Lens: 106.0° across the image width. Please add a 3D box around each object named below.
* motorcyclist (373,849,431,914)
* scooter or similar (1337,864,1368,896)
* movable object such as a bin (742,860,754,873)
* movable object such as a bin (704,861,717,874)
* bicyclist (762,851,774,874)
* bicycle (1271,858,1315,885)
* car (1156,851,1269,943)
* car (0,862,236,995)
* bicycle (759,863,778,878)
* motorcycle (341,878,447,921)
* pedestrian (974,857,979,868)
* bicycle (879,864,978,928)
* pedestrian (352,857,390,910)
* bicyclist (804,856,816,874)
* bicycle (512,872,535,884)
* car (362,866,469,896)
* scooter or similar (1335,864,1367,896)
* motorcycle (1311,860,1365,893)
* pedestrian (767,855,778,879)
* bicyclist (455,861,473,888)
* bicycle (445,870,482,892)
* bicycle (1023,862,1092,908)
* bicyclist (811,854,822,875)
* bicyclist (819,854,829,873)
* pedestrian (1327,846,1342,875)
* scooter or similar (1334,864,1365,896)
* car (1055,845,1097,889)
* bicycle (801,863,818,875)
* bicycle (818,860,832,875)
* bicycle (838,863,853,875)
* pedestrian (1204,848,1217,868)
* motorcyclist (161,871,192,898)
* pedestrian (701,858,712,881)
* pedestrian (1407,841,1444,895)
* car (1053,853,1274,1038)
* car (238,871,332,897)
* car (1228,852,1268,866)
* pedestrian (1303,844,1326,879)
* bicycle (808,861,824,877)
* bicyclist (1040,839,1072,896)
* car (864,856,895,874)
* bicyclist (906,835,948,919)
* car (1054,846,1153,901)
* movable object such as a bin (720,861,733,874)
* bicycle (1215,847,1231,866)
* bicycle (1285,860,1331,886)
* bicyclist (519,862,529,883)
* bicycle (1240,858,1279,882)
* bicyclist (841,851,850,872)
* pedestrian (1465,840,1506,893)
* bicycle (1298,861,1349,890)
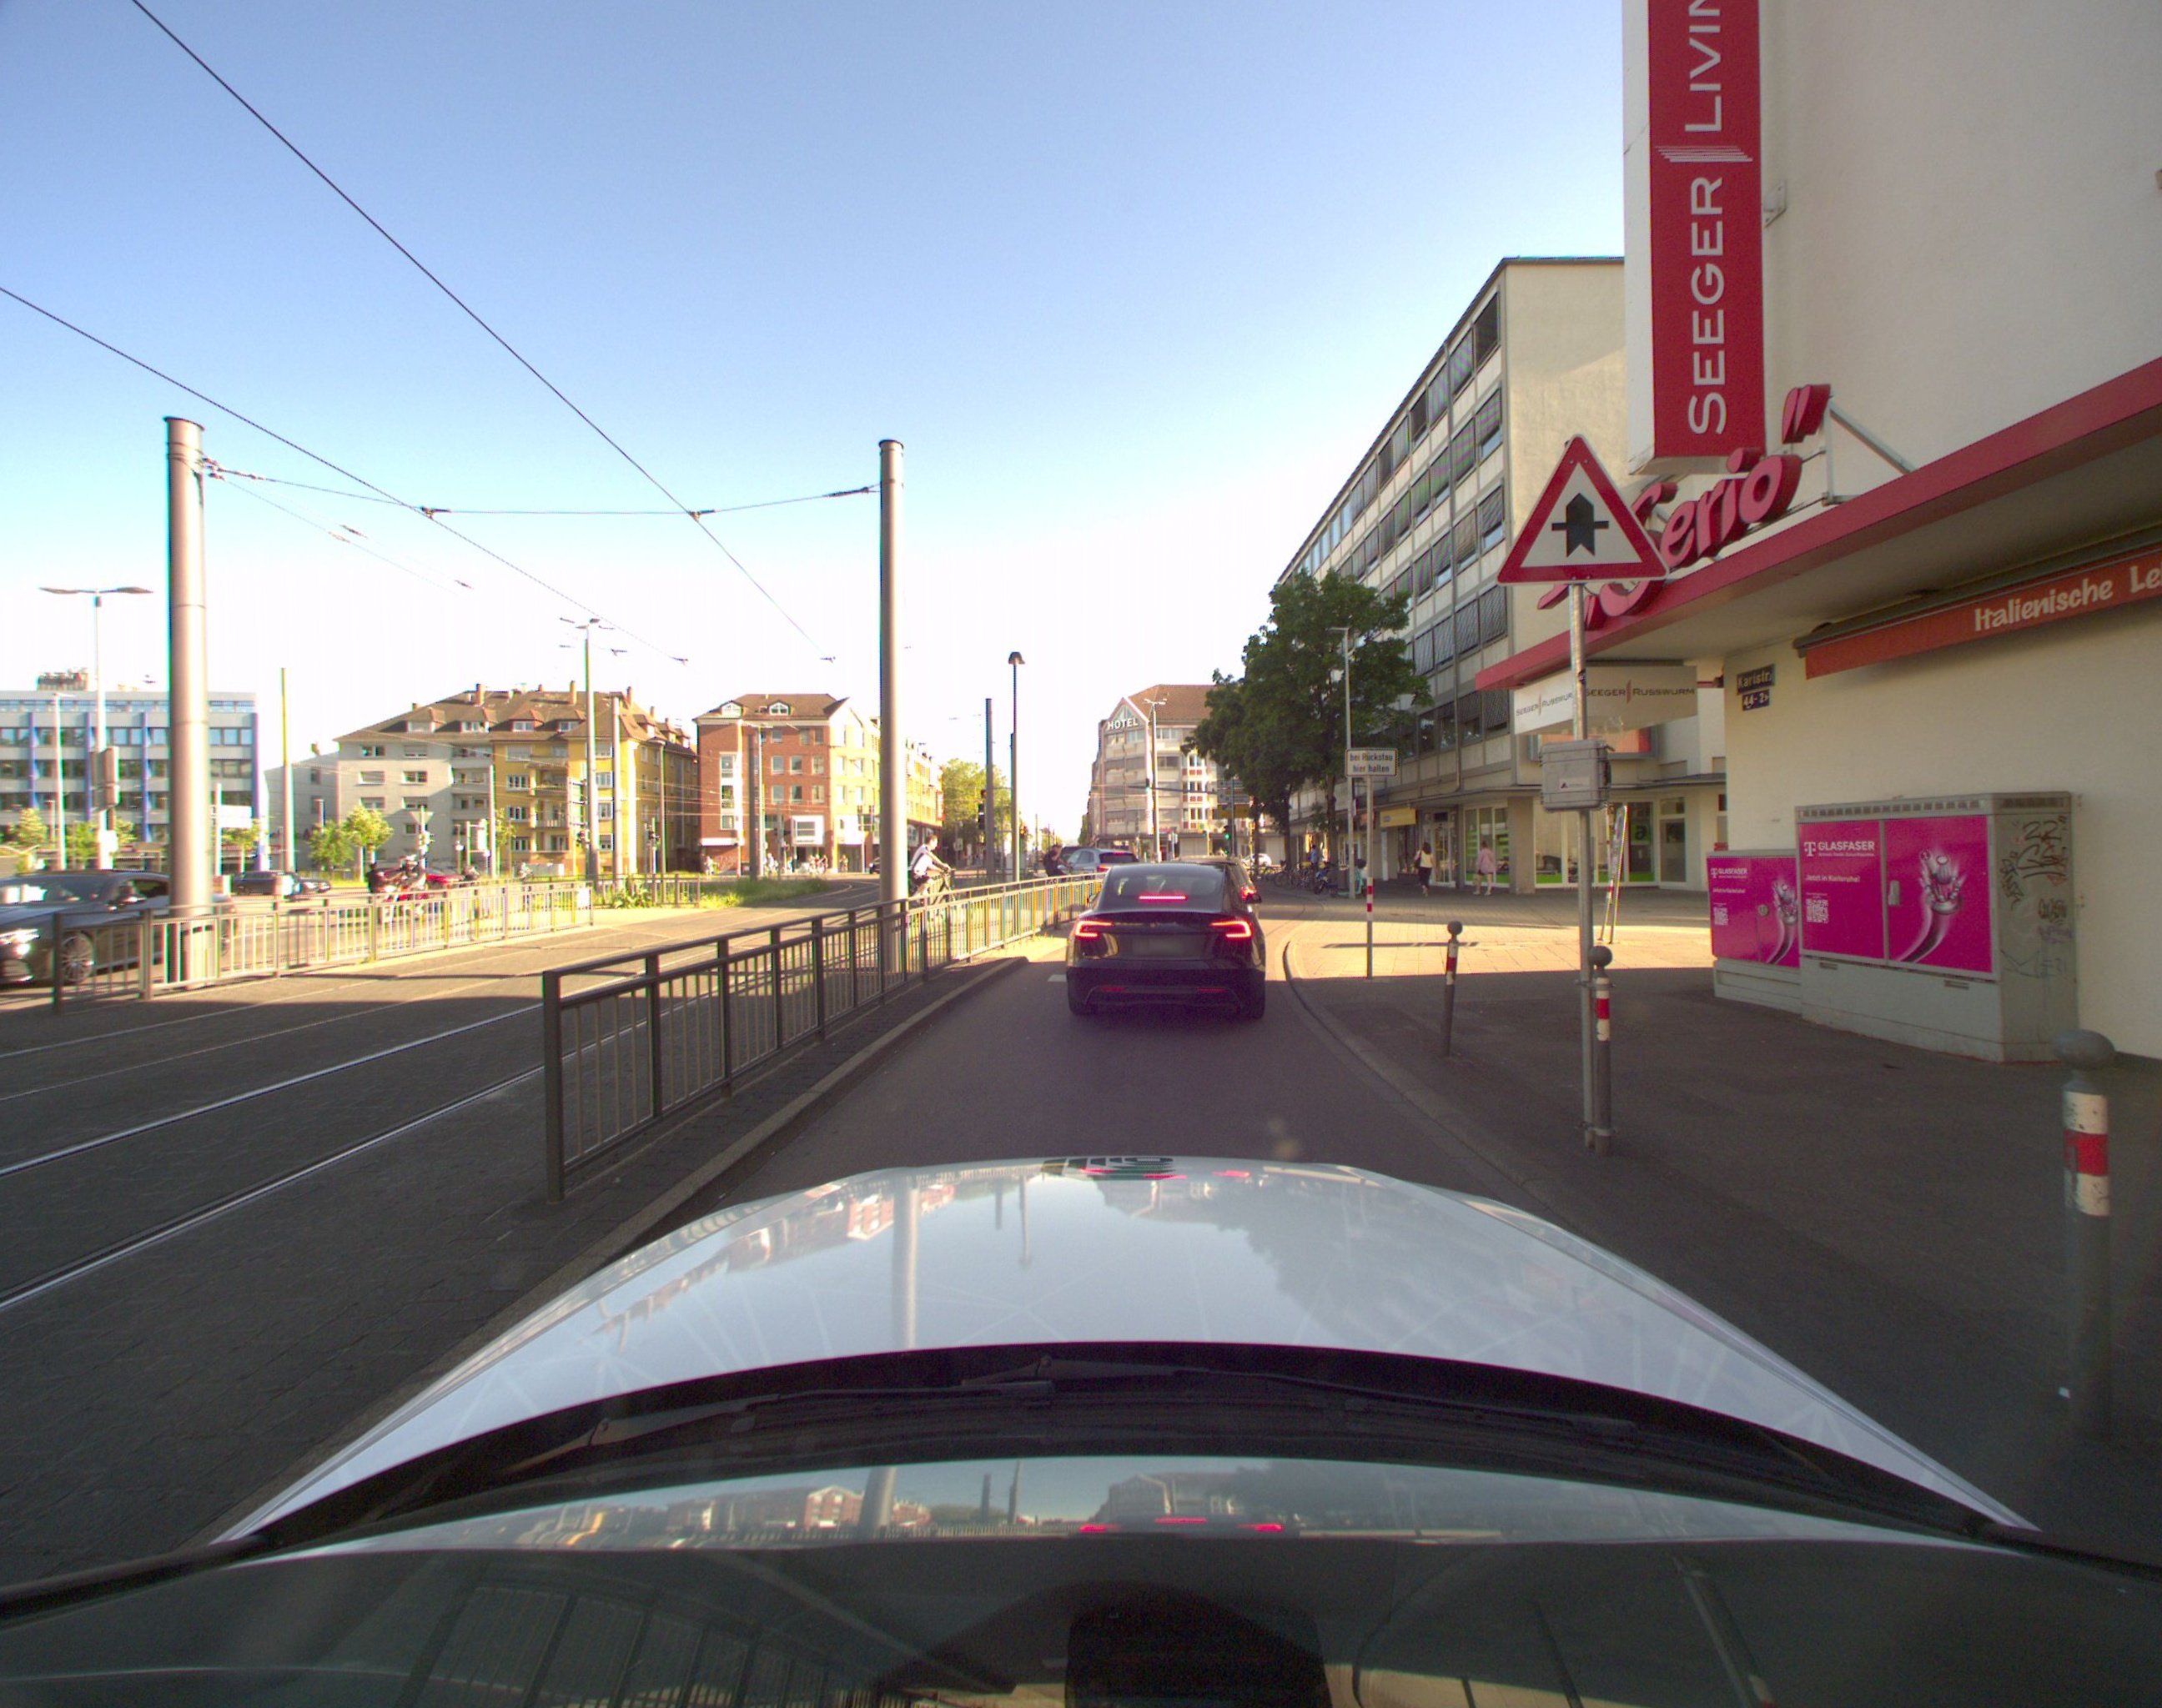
[{"bbox_3d":[-16.718,0.673,20.074,0.648,1.558,0.886,0,-1,7],"label":"motorcyclist"},{"bbox_3d":[8.937,0.848,26.815,0.959,1.043,0.160,-1,0,4],"label":"scooter or similar"},{"bbox_3d":[-35.996,1.361,88.035,0.995,1.437,1.093,0,-1,-8],"label":"movable object such as a bin"},{"bbox_3d":[-39.850,1.446,87.669,0.995,1.437,1.093,0,-1,-8],"label":"movable object such as a bin"},{"bbox_3d":[-22.450,0.600,58.426,0.518,1.673,0.771,0,-1,3],"label":"bicyclist"},{"bbox_3d":[9.177,0.751,35.286,1.805,1.151,0.435,-1,-1,-3],"label":"bicycle"},{"bbox_3d":[2.347,0.682,15.154,1.755,1.444,4.537,0,0,7],"label":"car"},{"bbox_3d":[-13.939,0.908,11.132,1.786,1.509,4.629,-2,0,-26],"label":"car"},{"bbox_3d":[-22.447,1.183,58.438,0.527,1.013,1.887,0,-1,4],"label":"bicycle"},{"bbox_3d":[-16.757,1.088,19.942,0.596,0.926,2.160,0,-1,7],"label":"motorcycle"},{"bbox_3d":[-14.046,1.124,109.627,0.584,1.531,0.634,0,-1,-15],"label":"pedestrian"},{"bbox_3d":[-2.996,0.819,16.051,1.811,1.212,0.583,0,-1,5],"label":"bicycle"},{"bbox_3d":[-26.181,1.067,30.030,0.716,1.934,0.802,-1,-1,22],"label":"pedestrian"},{"bbox_3d":[-22.200,0.866,66.716,0.661,1.454,0.731,0,-1,3],"label":"bicyclist"},{"bbox_3d":[-35.559,1.542,51.965,1.174,0.764,0.318,0,-1,-15],"label":"bicycle"},{"bbox_3d":[-39.258,1.577,48.117,4.548,1.509,1.777,-2,0,-9],"label":"car"},{"bbox_3d":[8.952,0.861,27.013,0.952,1.039,0.160,-1,0,4],"label":"scooter or similar"},{"bbox_3d":[9.188,0.802,29.137,1.781,1.130,0.504,0,-1,-1],"label":"motorcycle"},{"bbox_3d":[-25.908,1.056,68.398,0.592,2.014,0.831,0,-1,4],"label":"pedestrian"},{"bbox_3d":[-34.735,1.160,45.873,0.615,1.493,0.607,0,-1,-12],"label":"bicyclist"},{"bbox_3d":[-34.787,1.542,45.868,1.497,1.133,0.609,-3,0,-13],"label":"bicycle"},{"bbox_3d":[-0.645,0.837,22.411,1.831,1.212,0.635,0,-1,-29],"label":"bicycle"},{"bbox_3d":[-20.851,0.825,64.192,0.518,1.673,0.771,0,-1,3],"label":"bicyclist"},{"bbox_3d":[-21.786,0.818,69.132,0.586,1.649,0.806,0,-1,-1],"label":"bicyclist"},{"bbox_3d":[12.768,0.317,41.041,0.640,1.422,0.623,-1,-1,12],"label":"pedestrian"},{"bbox_3d":[8.966,0.872,27.213,0.959,1.027,0.160,-1,0,4],"label":"scooter or similar"},{"bbox_3d":[-0.179,0.510,32.464,1.568,1.618,3.782,0,-1,0],"label":"car"},{"bbox_3d":[-22.196,1.211,66.720,0.647,1.013,1.887,0,-1,4],"label":"bicycle"},{"bbox_3d":[-21.762,1.160,69.338,0.571,1.291,2.026,0,-1,0],"label":"bicycle"},{"bbox_3d":[-19.562,1.245,67.675,0.527,1.013,1.899,0,-1,4],"label":"bicycle"},{"bbox_3d":[10.503,0.320,65.989,0.780,1.576,0.864,0,1,-13],"label":"pedestrian"},{"bbox_3d":[-52.035,1.750,46.859,0.919,1.524,0.781,0,-1,-5],"label":"motorcyclist"},{"bbox_3d":[-28.552,1.170,62.125,0.624,1.688,0.703,0,1,-11],"label":"pedestrian"},{"bbox_3d":[11.033,0.454,26.099,0.840,1.707,0.880,0,-1,1],"label":"pedestrian"},{"bbox_3d":[0.898,0.745,8.615,1.781,1.450,3.947,0,1,7],"label":"car"},{"bbox_3d":[-46.313,1.732,47.431,3.695,1.472,1.572,0,-1,-6],"label":"car"},{"bbox_3d":[17.616,0.551,86.168,3.832,1.432,1.801,-1,-2,-4],"label":"car"},{"bbox_3d":[11.849,0.381,41.340,0.835,1.721,0.885,-1,-1,39],"label":"pedestrian"},{"bbox_3d":[-20.849,1.152,64.162,0.527,1.214,1.887,0,-1,4],"label":"bicycle"},{"bbox_3d":[-0.687,0.371,22.395,0.685,1.523,0.629,0,-1,-29],"label":"bicyclist"},{"bbox_3d":[-18.220,0.984,73.755,1.678,1.560,4.124,0,-1,2],"label":"car"},{"bbox_3d":[-3.029,0.446,16.066,0.677,1.631,0.579,0,-1,5],"label":"bicyclist"},{"bbox_3d":[0.651,0.589,26.332,1.848,1.635,3.457,0,-1,-25],"label":"car"},{"bbox_3d":[-38.281,1.439,87.921,0.995,1.437,1.093,0,-1,-8],"label":"movable object such as a bin"},{"bbox_3d":[11.483,0.209,65.865,0.583,1.463,1.678,-1,0,-13],"label":"bicycle"},{"bbox_3d":[9.258,0.777,33.246,1.758,1.057,0.459,0,-1,6],"label":"bicycle"},{"bbox_3d":[-35.550,1.196,51.978,0.459,1.316,0.398,0,-1,-14],"label":"bicyclist"},{"bbox_3d":[9.263,0.820,42.350,1.882,1.156,0.480,-2,-1,2],"label":"bicycle"},{"bbox_3d":[-19.569,0.634,67.631,0.522,1.673,0.771,0,-1,3],"label":"bicyclist"},{"bbox_3d":[12.550,0.380,25.304,0.840,1.602,0.880,0,-1,1],"label":"pedestrian"},{"bbox_3d":[9.298,0.815,31.203,1.850,1.056,0.398,-2,0,-10],"label":"bicycle"}]
